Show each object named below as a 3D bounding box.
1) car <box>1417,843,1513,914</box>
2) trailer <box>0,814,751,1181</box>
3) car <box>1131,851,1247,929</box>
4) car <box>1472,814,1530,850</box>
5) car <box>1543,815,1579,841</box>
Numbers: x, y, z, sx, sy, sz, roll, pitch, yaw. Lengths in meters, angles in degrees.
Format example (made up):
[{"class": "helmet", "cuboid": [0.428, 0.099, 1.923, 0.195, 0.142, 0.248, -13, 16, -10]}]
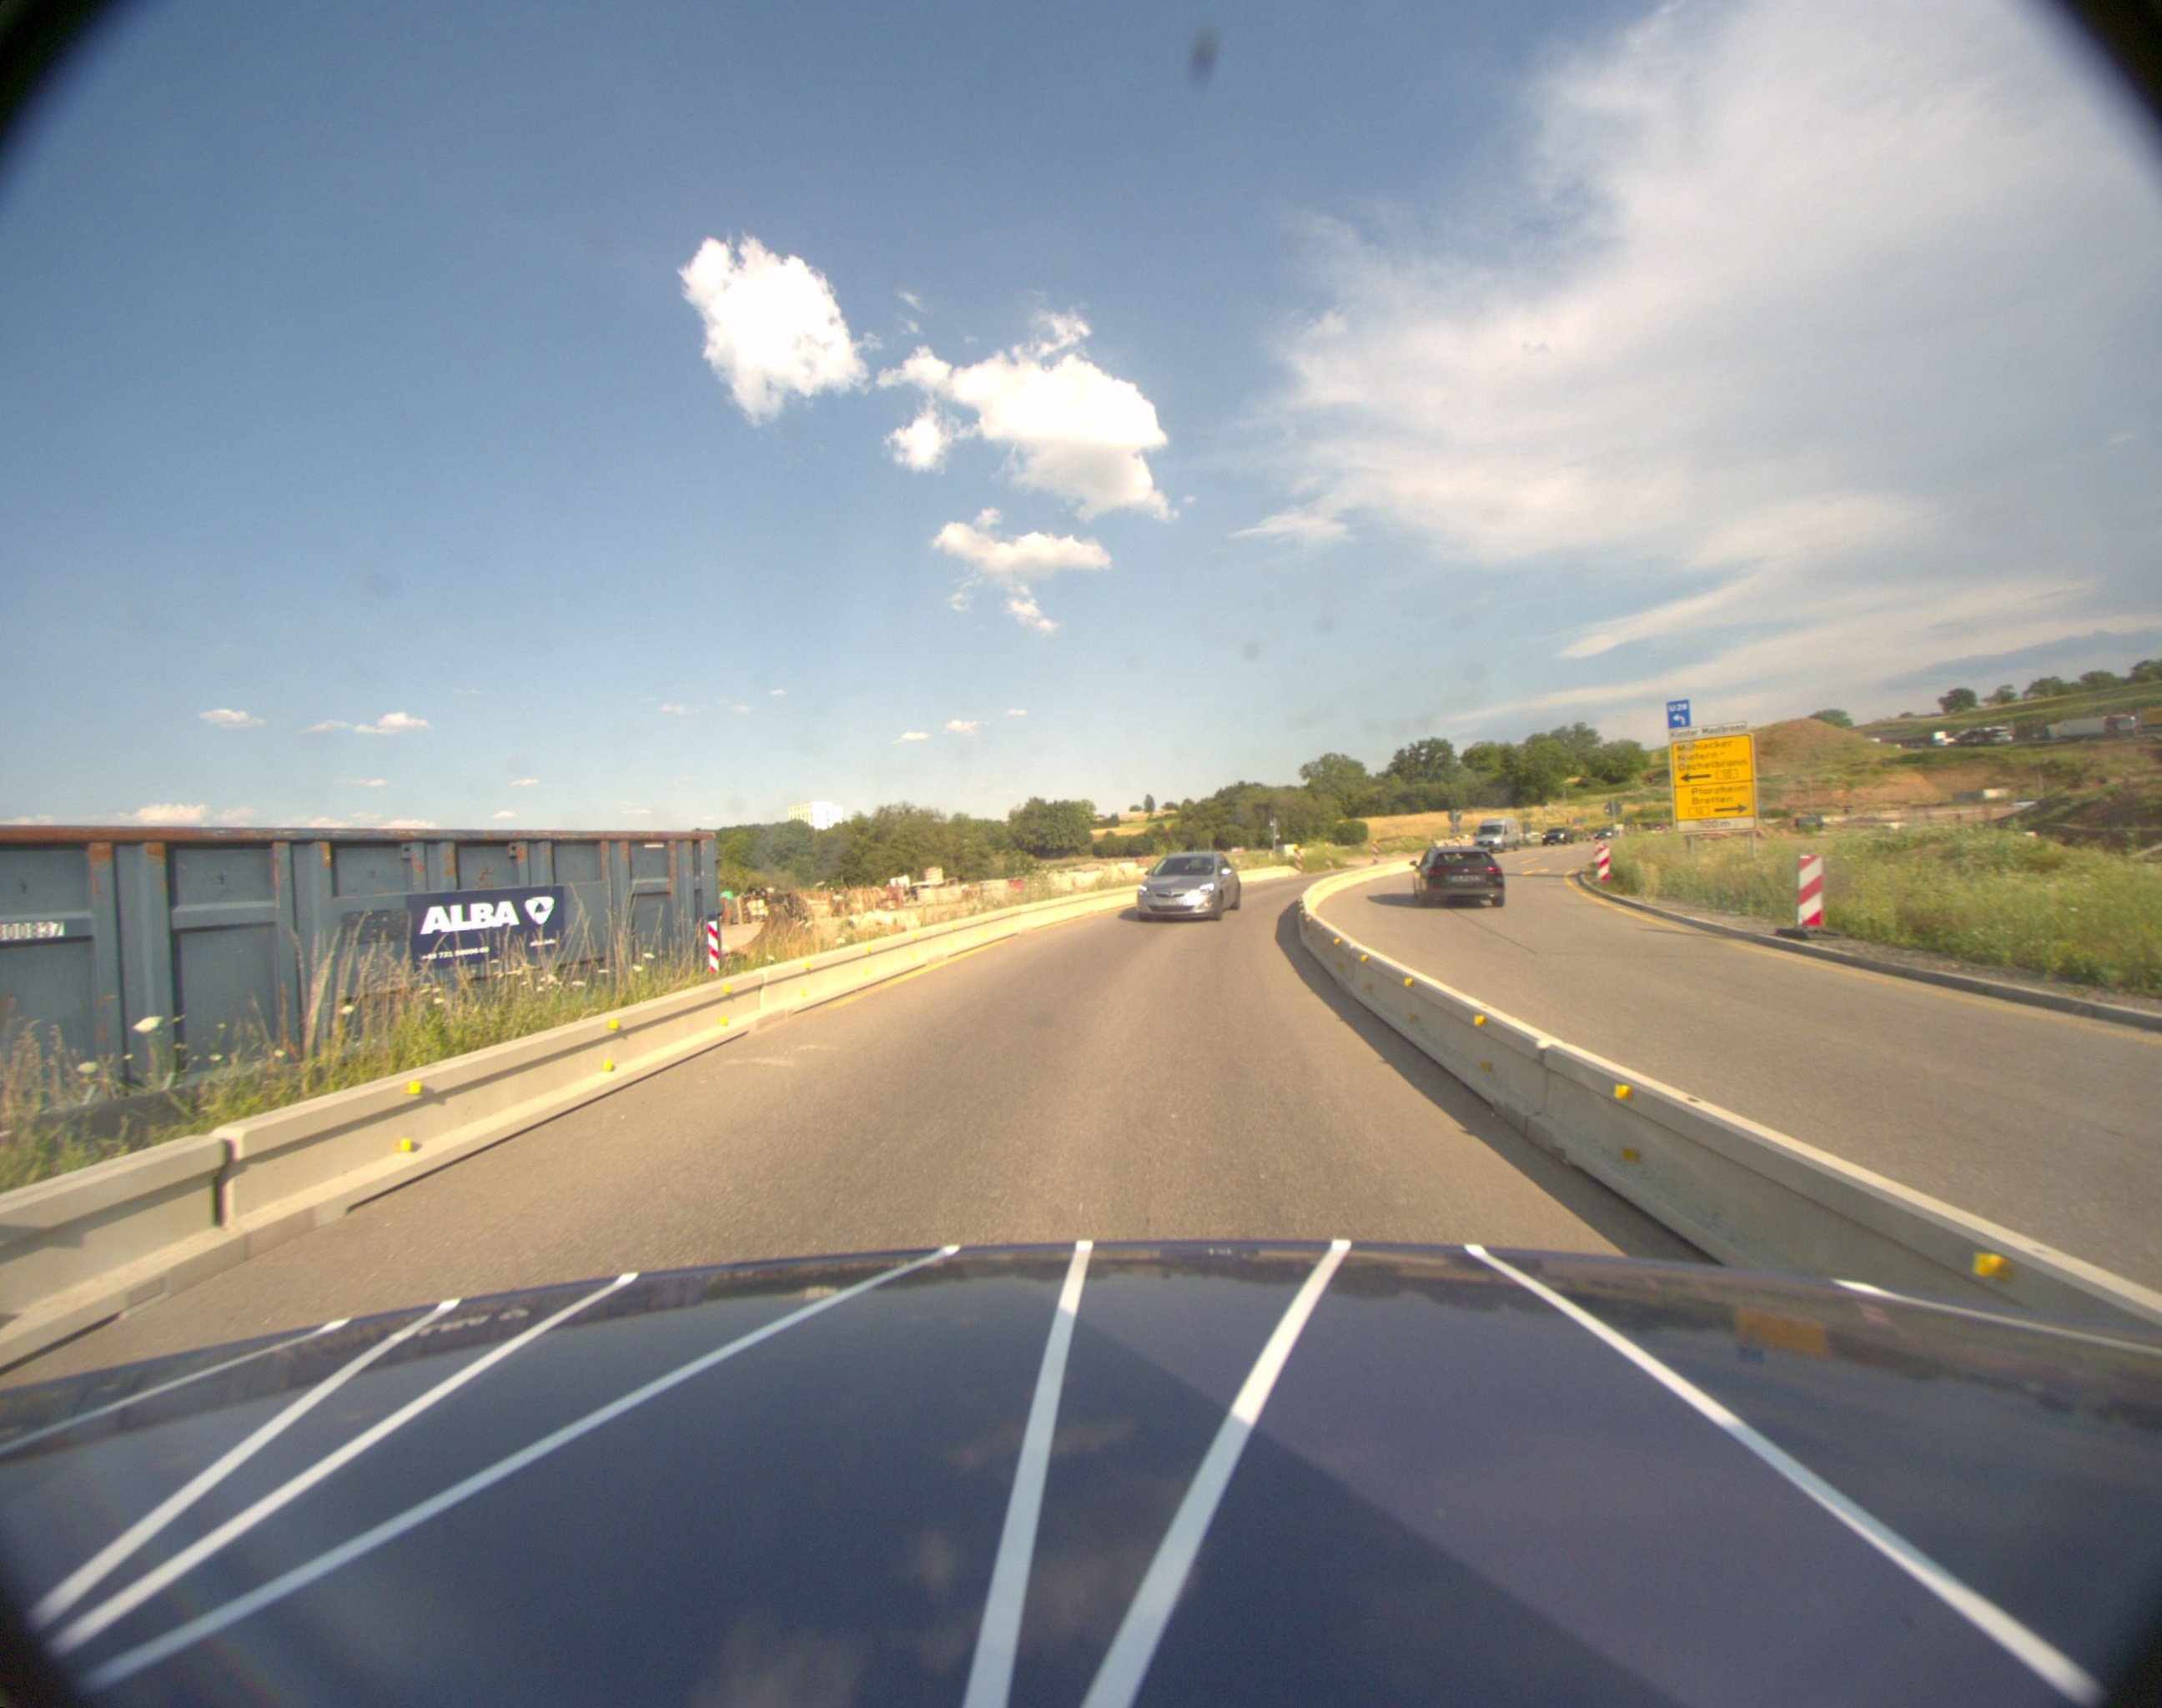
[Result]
[{"class": "car", "cuboid": [9.494, 0.529, 19.091, 1.712, 1.510, 4.521, -1, 1, 21]}, {"class": "trailer", "cuboid": [-7.525, 0.950, 8.114, 3.007, 2.400, 7.238, -3, 0, 21]}, {"class": "car", "cuboid": [2.605, 0.740, 17.393, 1.745, 1.476, 4.257, -3, 0, 20]}, {"class": "car", "cuboid": [31.368, -1.669, 56.678, 5.808, 2.486, 1.912, -3, 1, -42]}, {"class": "car", "cuboid": [45.939, -2.509, 72.702, 4.007, 2.389, 1.872, -3, 1, -42]}]
